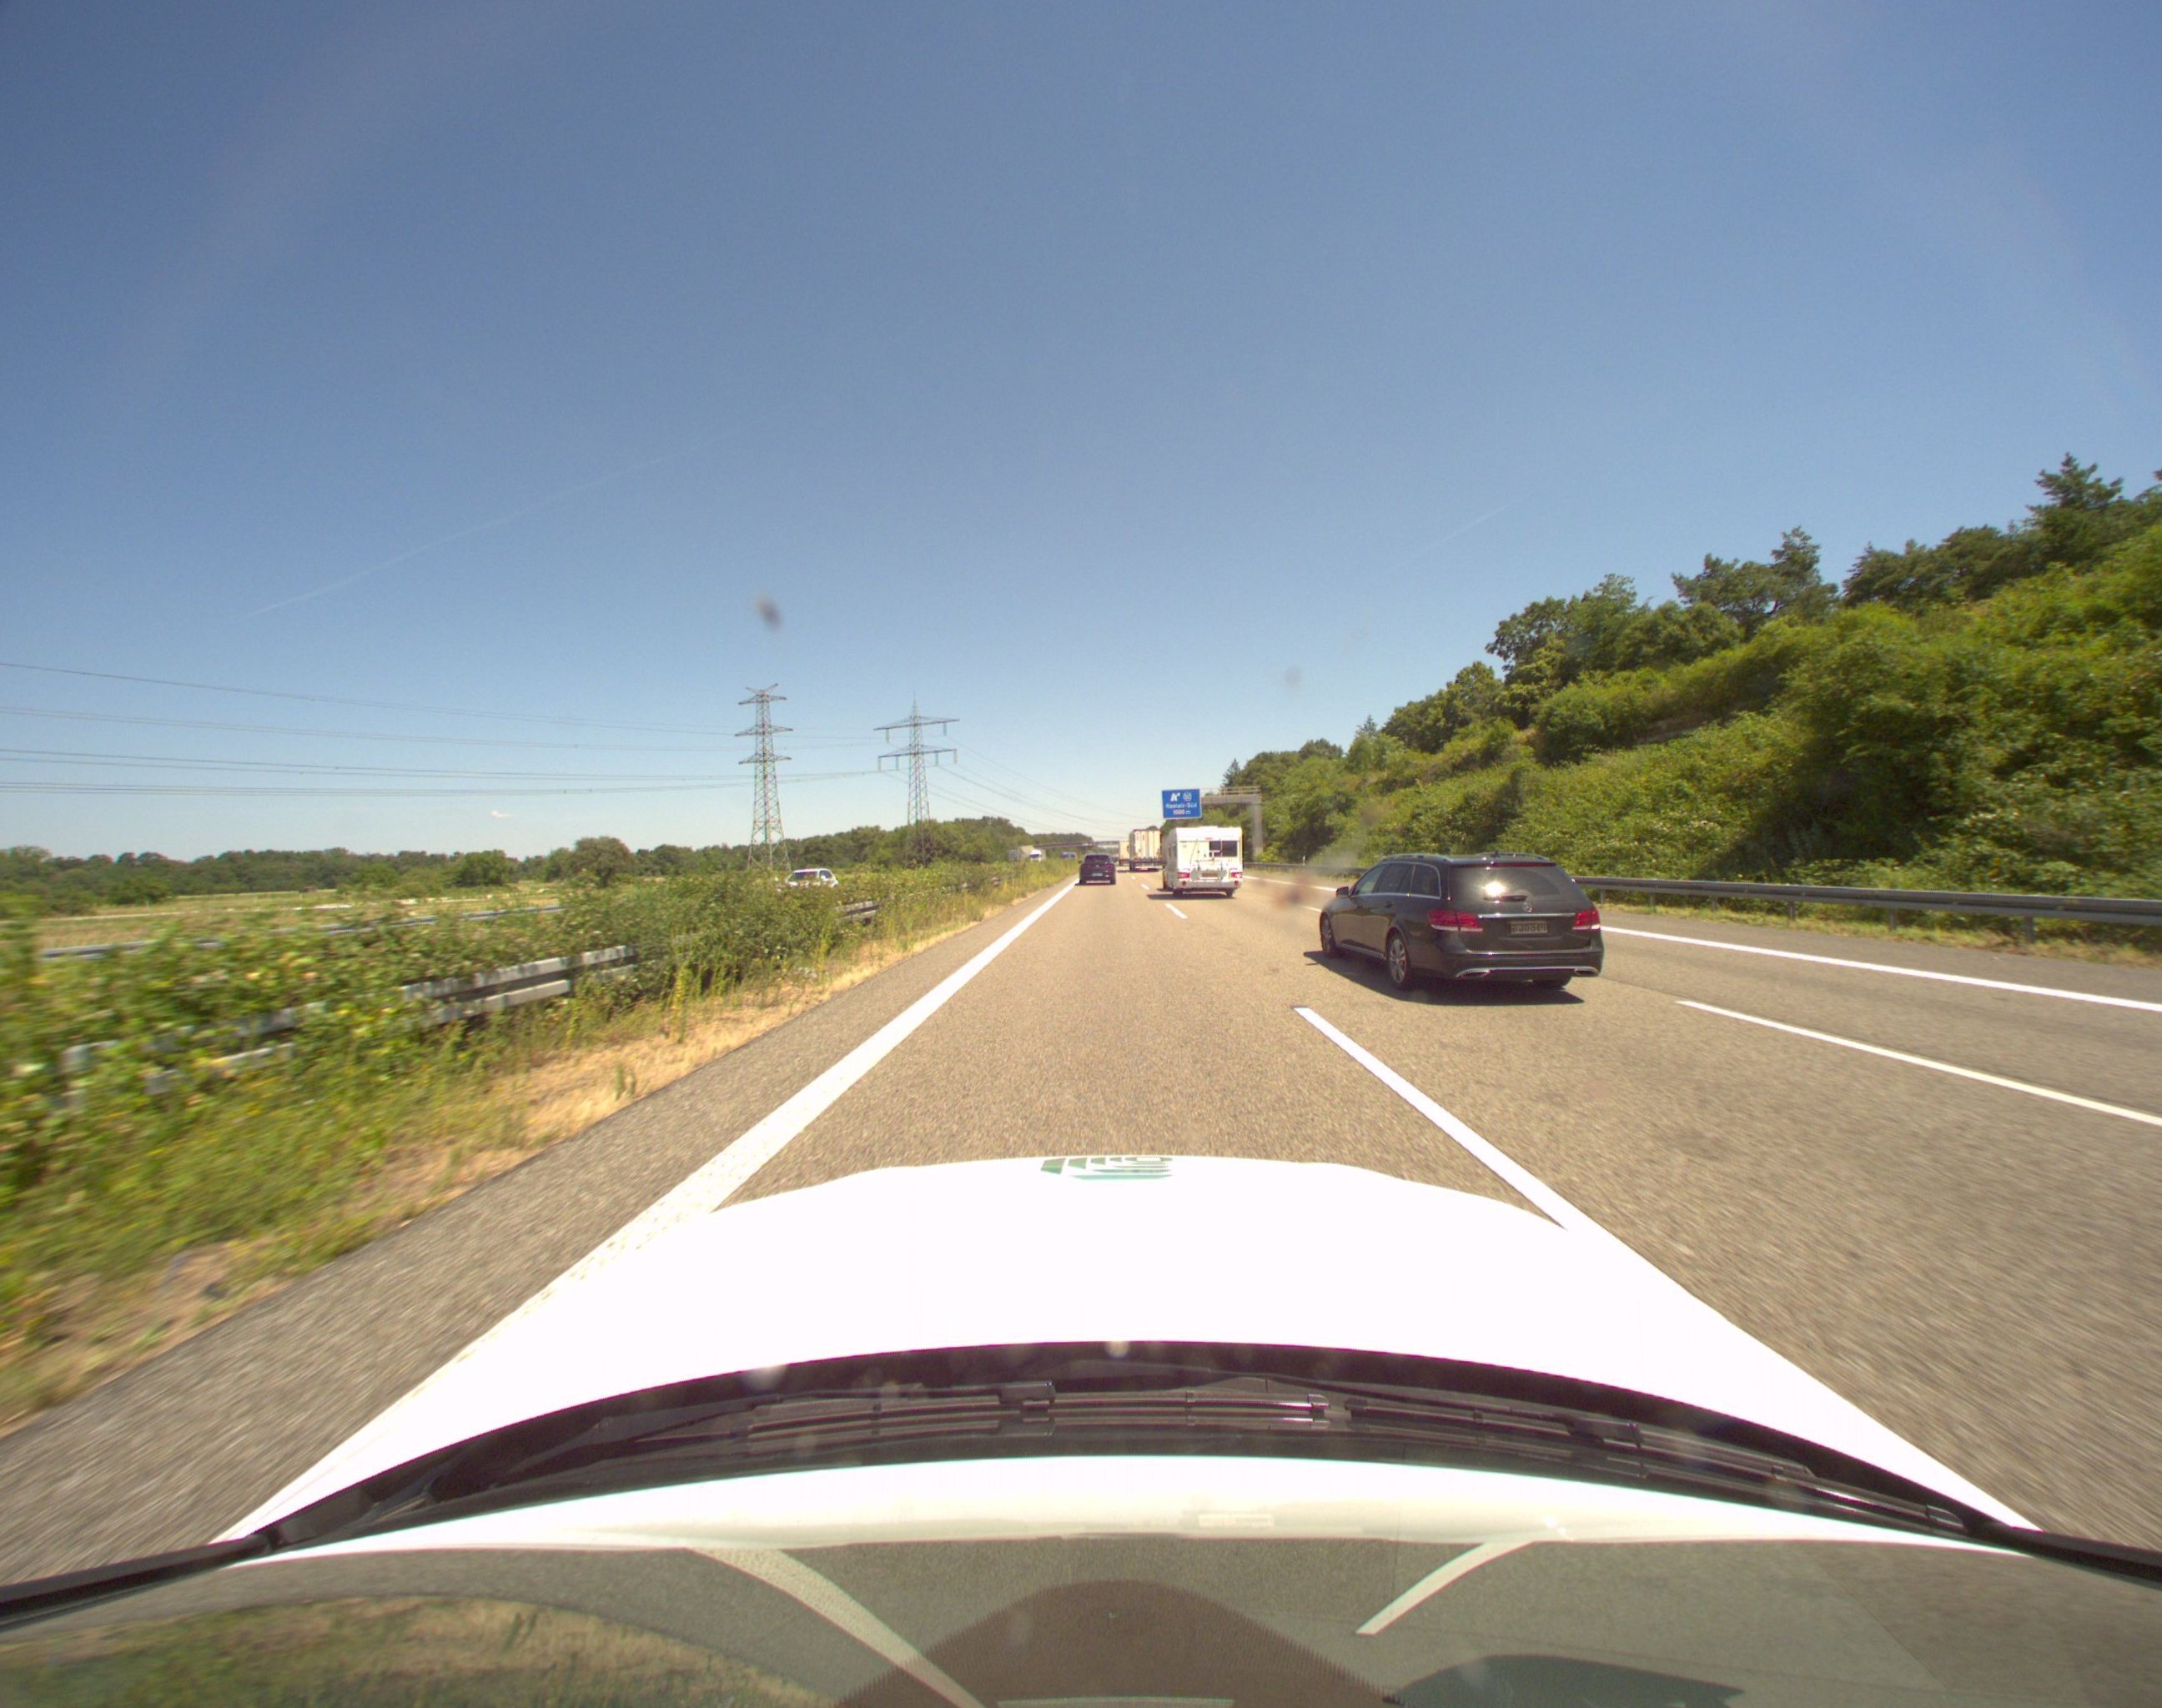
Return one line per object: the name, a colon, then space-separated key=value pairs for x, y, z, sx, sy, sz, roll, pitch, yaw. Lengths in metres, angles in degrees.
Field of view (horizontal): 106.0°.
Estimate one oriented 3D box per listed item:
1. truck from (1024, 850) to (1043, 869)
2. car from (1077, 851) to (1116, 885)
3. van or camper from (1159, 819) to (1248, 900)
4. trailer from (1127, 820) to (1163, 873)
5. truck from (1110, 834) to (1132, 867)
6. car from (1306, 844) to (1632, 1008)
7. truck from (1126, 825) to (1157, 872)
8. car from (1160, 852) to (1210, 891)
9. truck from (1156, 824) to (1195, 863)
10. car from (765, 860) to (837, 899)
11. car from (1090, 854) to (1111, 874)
truck: x=-11.442 y=1.292 z=197.076 sx=3.353 sy=4.408 sz=6.563 roll=-4 pitch=0 yaw=4
car: x=0.848 y=0.749 z=45.113 sx=1.987 sy=1.772 sz=4.000 roll=-2 pitch=0 yaw=1
van or camper: x=4.480 y=0.188 z=30.849 sx=2.430 sy=2.675 sz=6.350 roll=-2 pitch=0 yaw=1
trailer: x=6.277 y=-0.645 z=81.192 sx=3.075 sy=4.885 sz=12.263 roll=0 pitch=-1 yaw=2
truck: x=6.465 y=-0.592 z=133.052 sx=3.498 sy=5.166 sz=10.263 roll=-1 pitch=0 yaw=2
car: x=4.372 y=0.685 z=10.168 sx=1.835 sy=1.505 sz=4.738 roll=-2 pitch=0 yaw=1
truck: x=6.524 y=-0.577 z=88.163 sx=3.075 sy=4.885 sz=6.600 roll=0 pitch=-1 yaw=2
car: x=4.569 y=0.729 z=36.397 sx=1.871 sy=1.612 sz=4.706 roll=-1 pitch=0 yaw=3
truck: x=10.797 y=-1.061 z=94.465 sx=3.557 sy=4.245 sz=11.657 roll=0 pitch=-1 yaw=2
car: x=-12.765 y=1.131 z=37.426 sx=1.834 sy=1.651 sz=4.014 roll=-1 pitch=0 yaw=1
car: x=1.870 y=0.930 z=78.378 sx=1.955 sy=1.814 sz=4.449 roll=-2 pitch=0 yaw=1
